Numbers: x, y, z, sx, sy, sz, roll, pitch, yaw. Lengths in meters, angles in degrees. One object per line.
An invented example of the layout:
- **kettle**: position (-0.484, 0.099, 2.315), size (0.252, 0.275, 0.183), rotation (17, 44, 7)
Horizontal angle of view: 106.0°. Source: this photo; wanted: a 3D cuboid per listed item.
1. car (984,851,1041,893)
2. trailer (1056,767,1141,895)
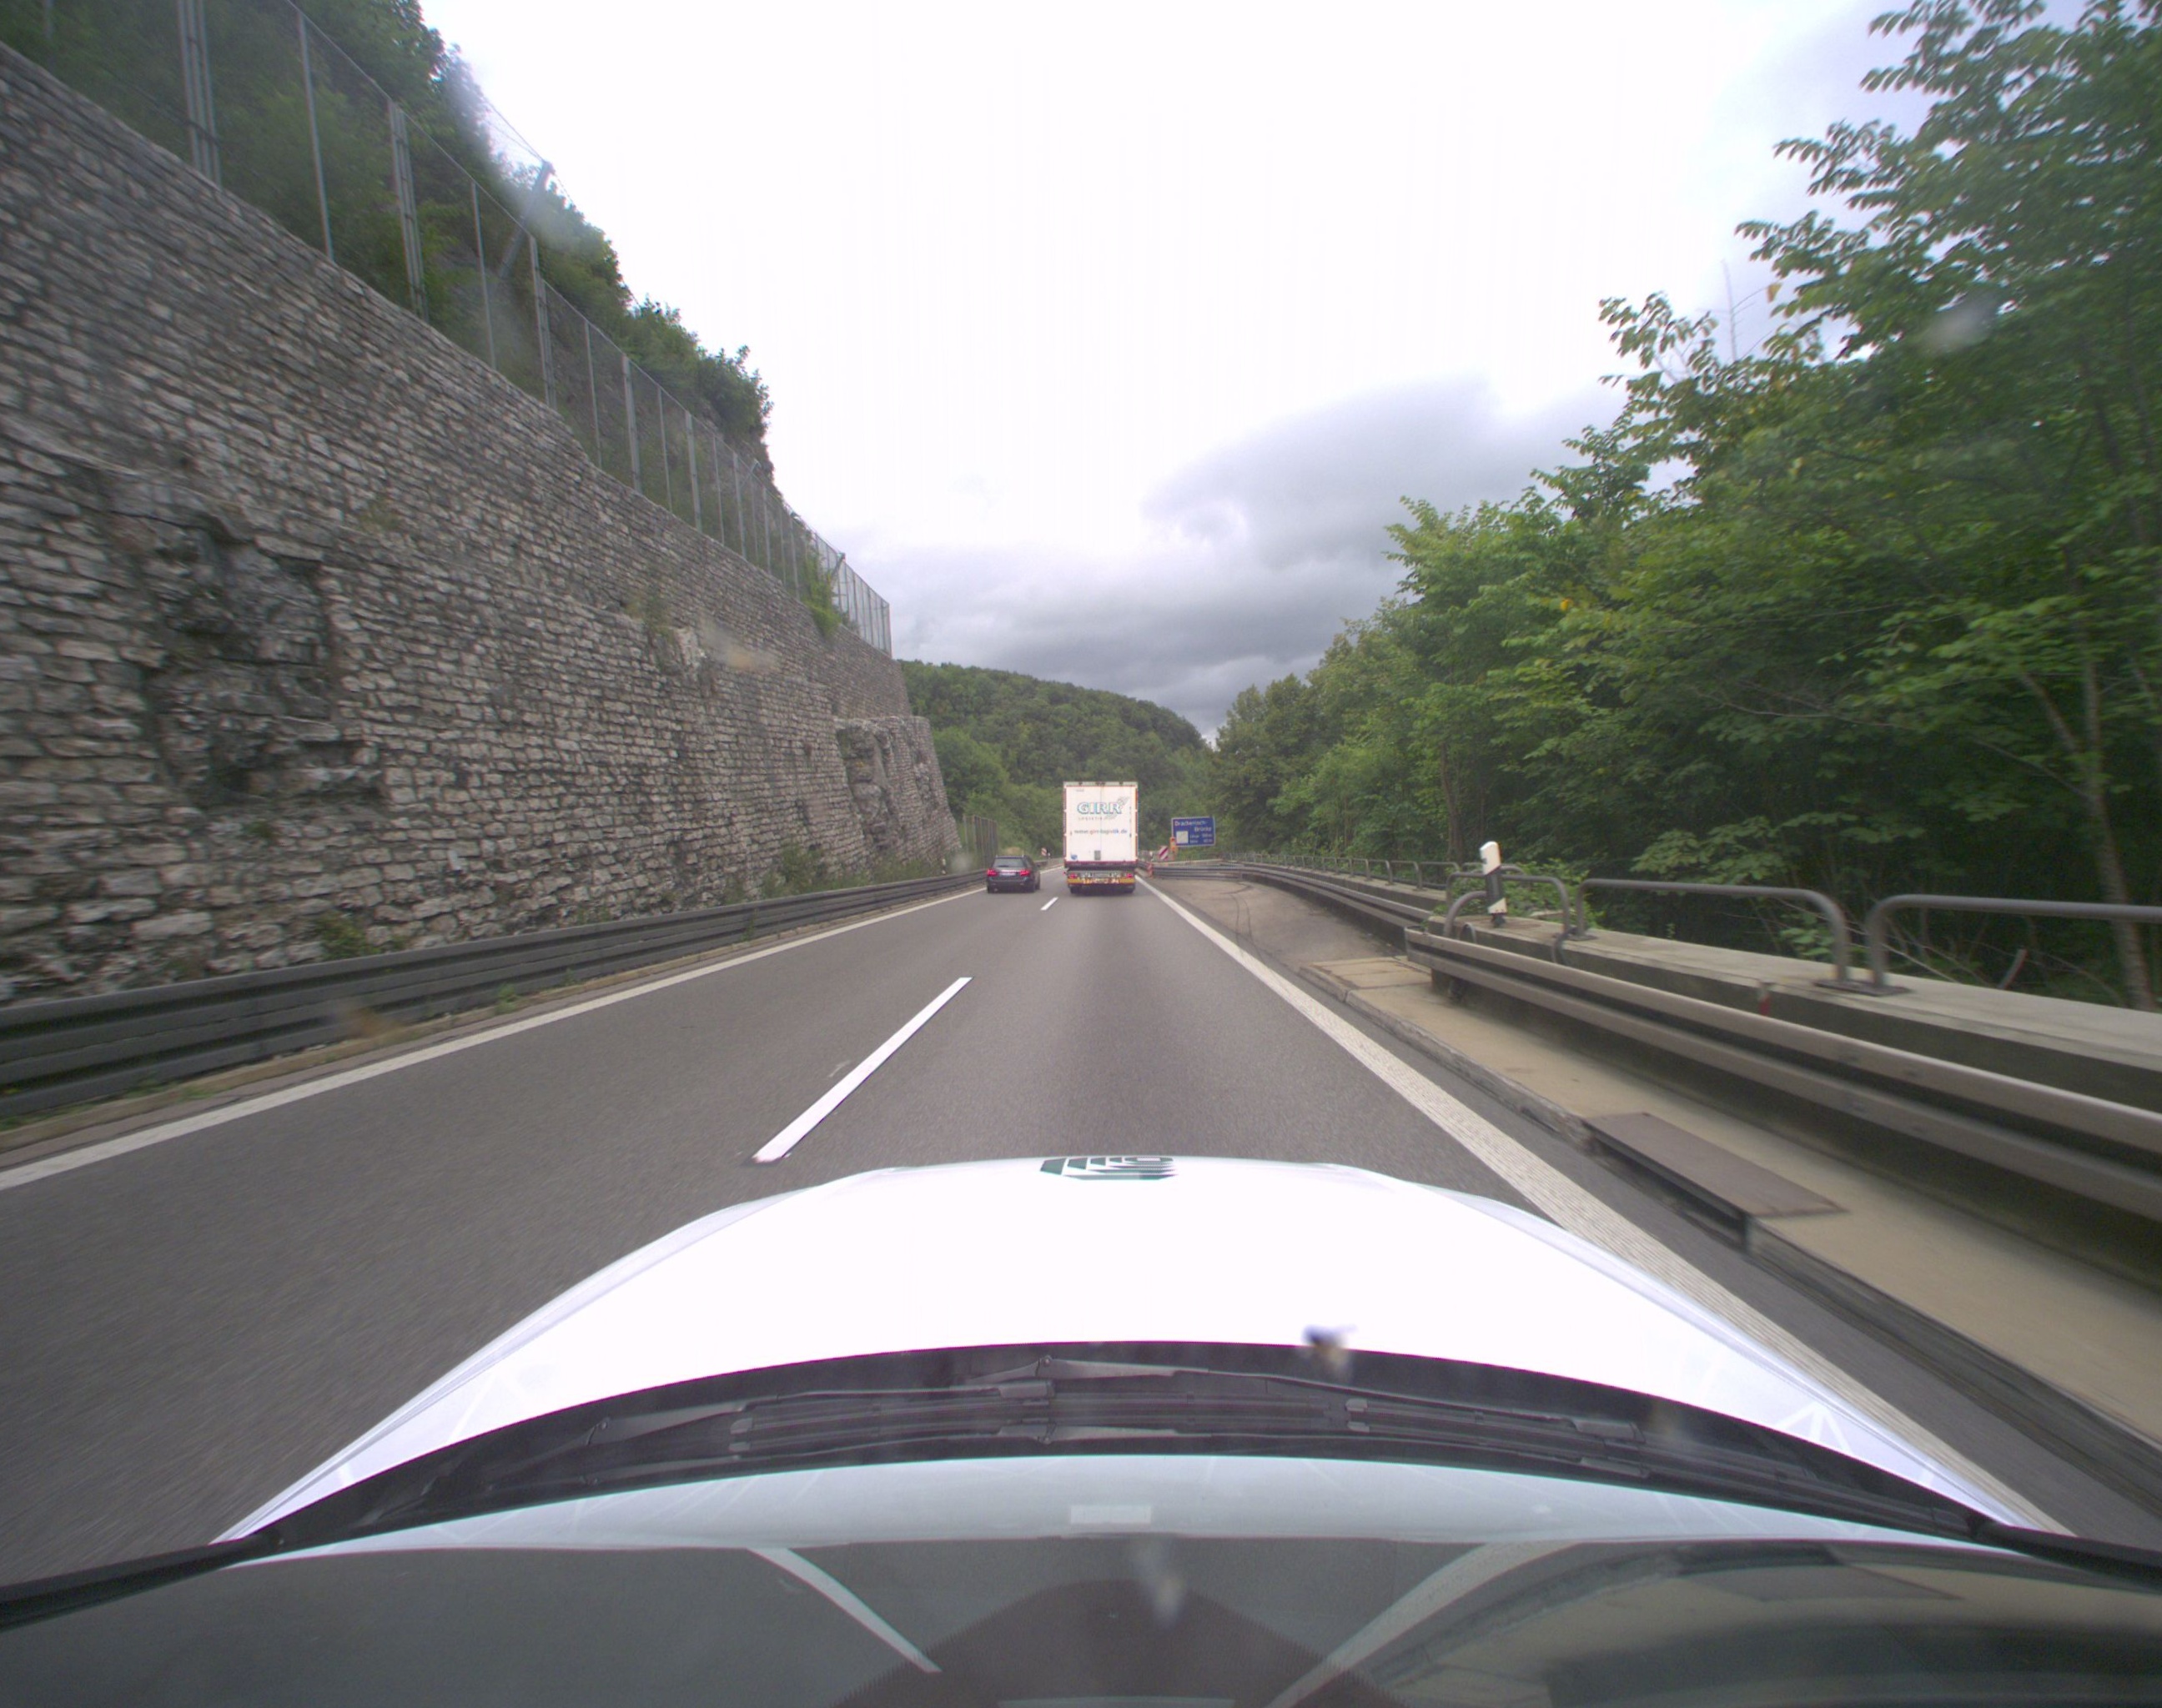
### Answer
- **car**: position (-2.694, 0.700, 32.900), size (1.877, 1.510, 4.418), rotation (-1, 0, 0)
- **trailer**: position (0.643, -0.732, 33.861), size (2.804, 4.302, 12.244), rotation (-1, 0, 0)
